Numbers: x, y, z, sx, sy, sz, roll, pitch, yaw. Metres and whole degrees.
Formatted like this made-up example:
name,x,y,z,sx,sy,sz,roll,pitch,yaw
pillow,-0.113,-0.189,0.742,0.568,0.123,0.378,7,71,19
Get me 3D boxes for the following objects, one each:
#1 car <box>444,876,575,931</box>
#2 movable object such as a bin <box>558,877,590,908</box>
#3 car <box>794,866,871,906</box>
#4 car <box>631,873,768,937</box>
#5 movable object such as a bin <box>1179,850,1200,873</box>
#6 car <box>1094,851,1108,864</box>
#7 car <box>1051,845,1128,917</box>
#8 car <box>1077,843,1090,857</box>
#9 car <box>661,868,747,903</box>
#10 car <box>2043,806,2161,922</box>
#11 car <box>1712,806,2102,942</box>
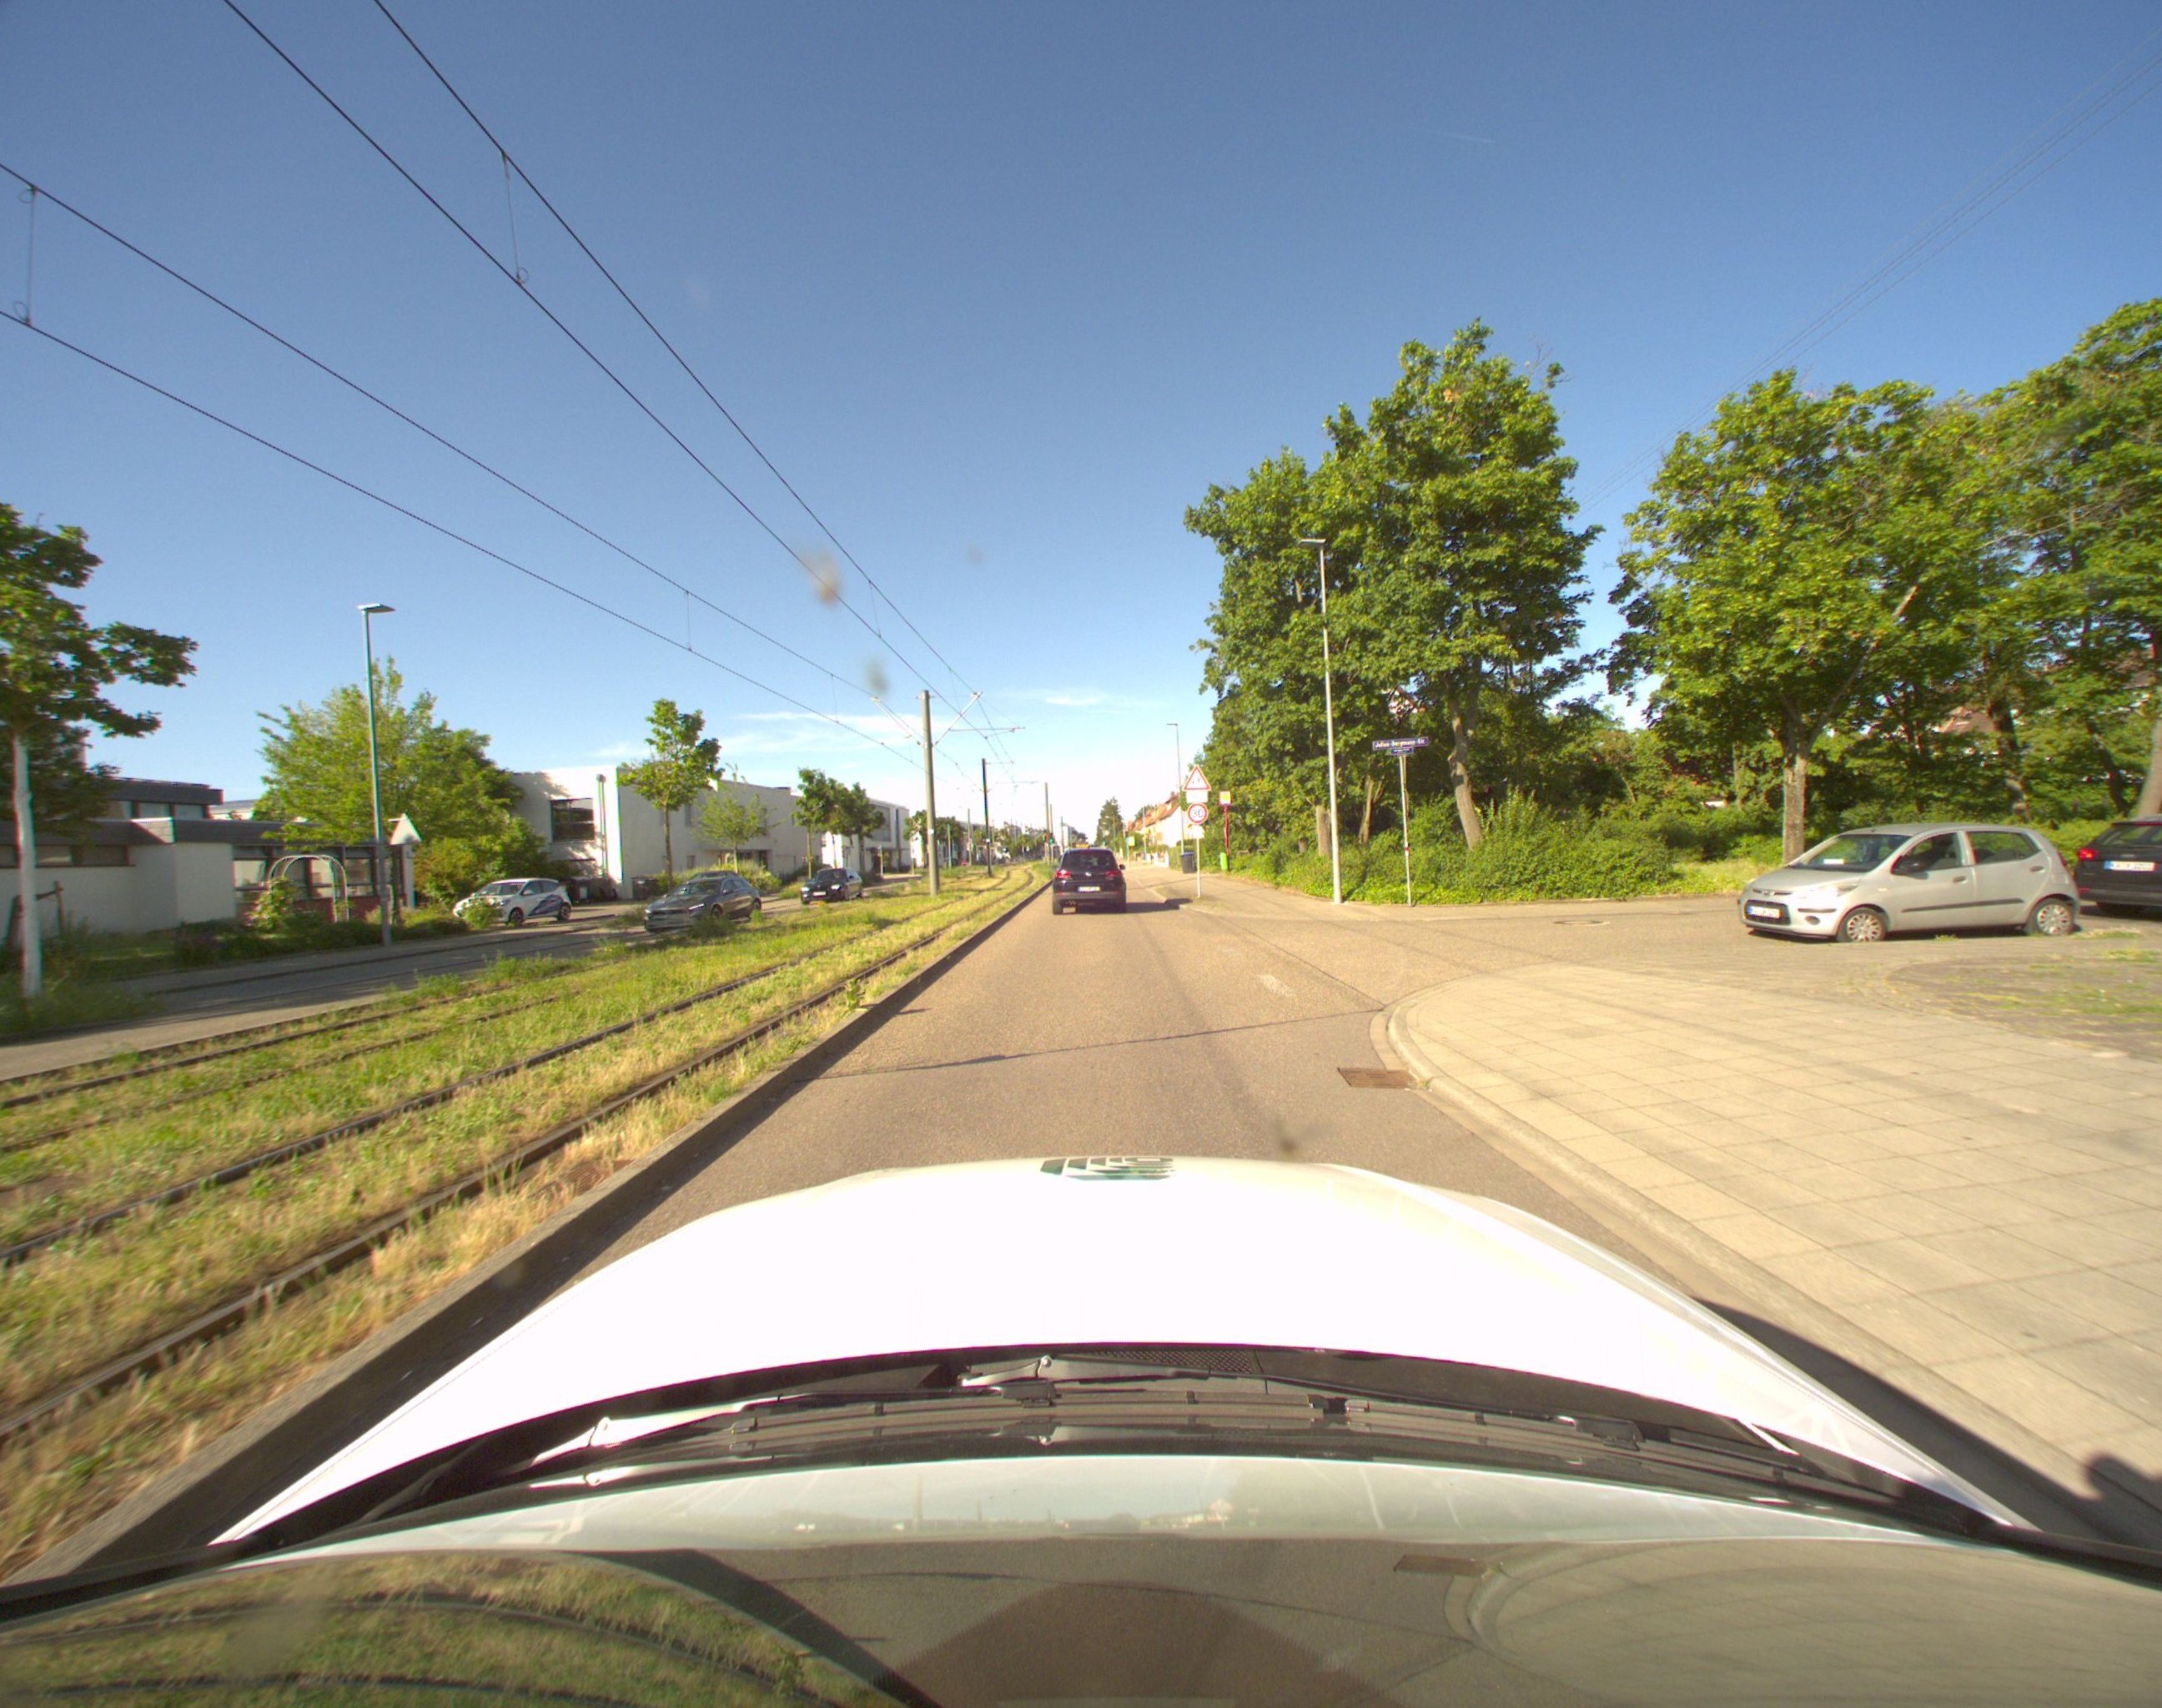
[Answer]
name,x,y,z,sx,sy,sz,roll,pitch,yaw
car,-18.305,1.546,26.309,1.539,1.491,3.774,-2,0,-1
movable object such as a bin,-25.459,1.927,40.925,0.660,1.433,1.258,-2,0,8
car,-10.806,1.347,35.770,1.757,1.444,4.915,-5,0,0
car,-10.623,1.350,23.062,1.682,1.388,4.388,-5,0,0
movable object such as a bin,5.801,0.397,43.656,0.971,1.110,1.172,-3,0,4
car,2.865,0.498,117.067,1.771,1.670,3.998,-3,0,-1
car,0.170,0.638,21.367,1.771,1.670,3.998,-2,0,-1
car,0.492,-0.717,158.727,2.386,2.564,5.531,-3,0,2
car,-18.103,1.464,39.343,1.802,1.461,4.324,-2,0,5
car,16.151,0.025,11.031,3.984,1.497,1.746,-3,0,3
car,11.167,0.270,11.222,3.581,1.530,1.648,-3,-1,2
